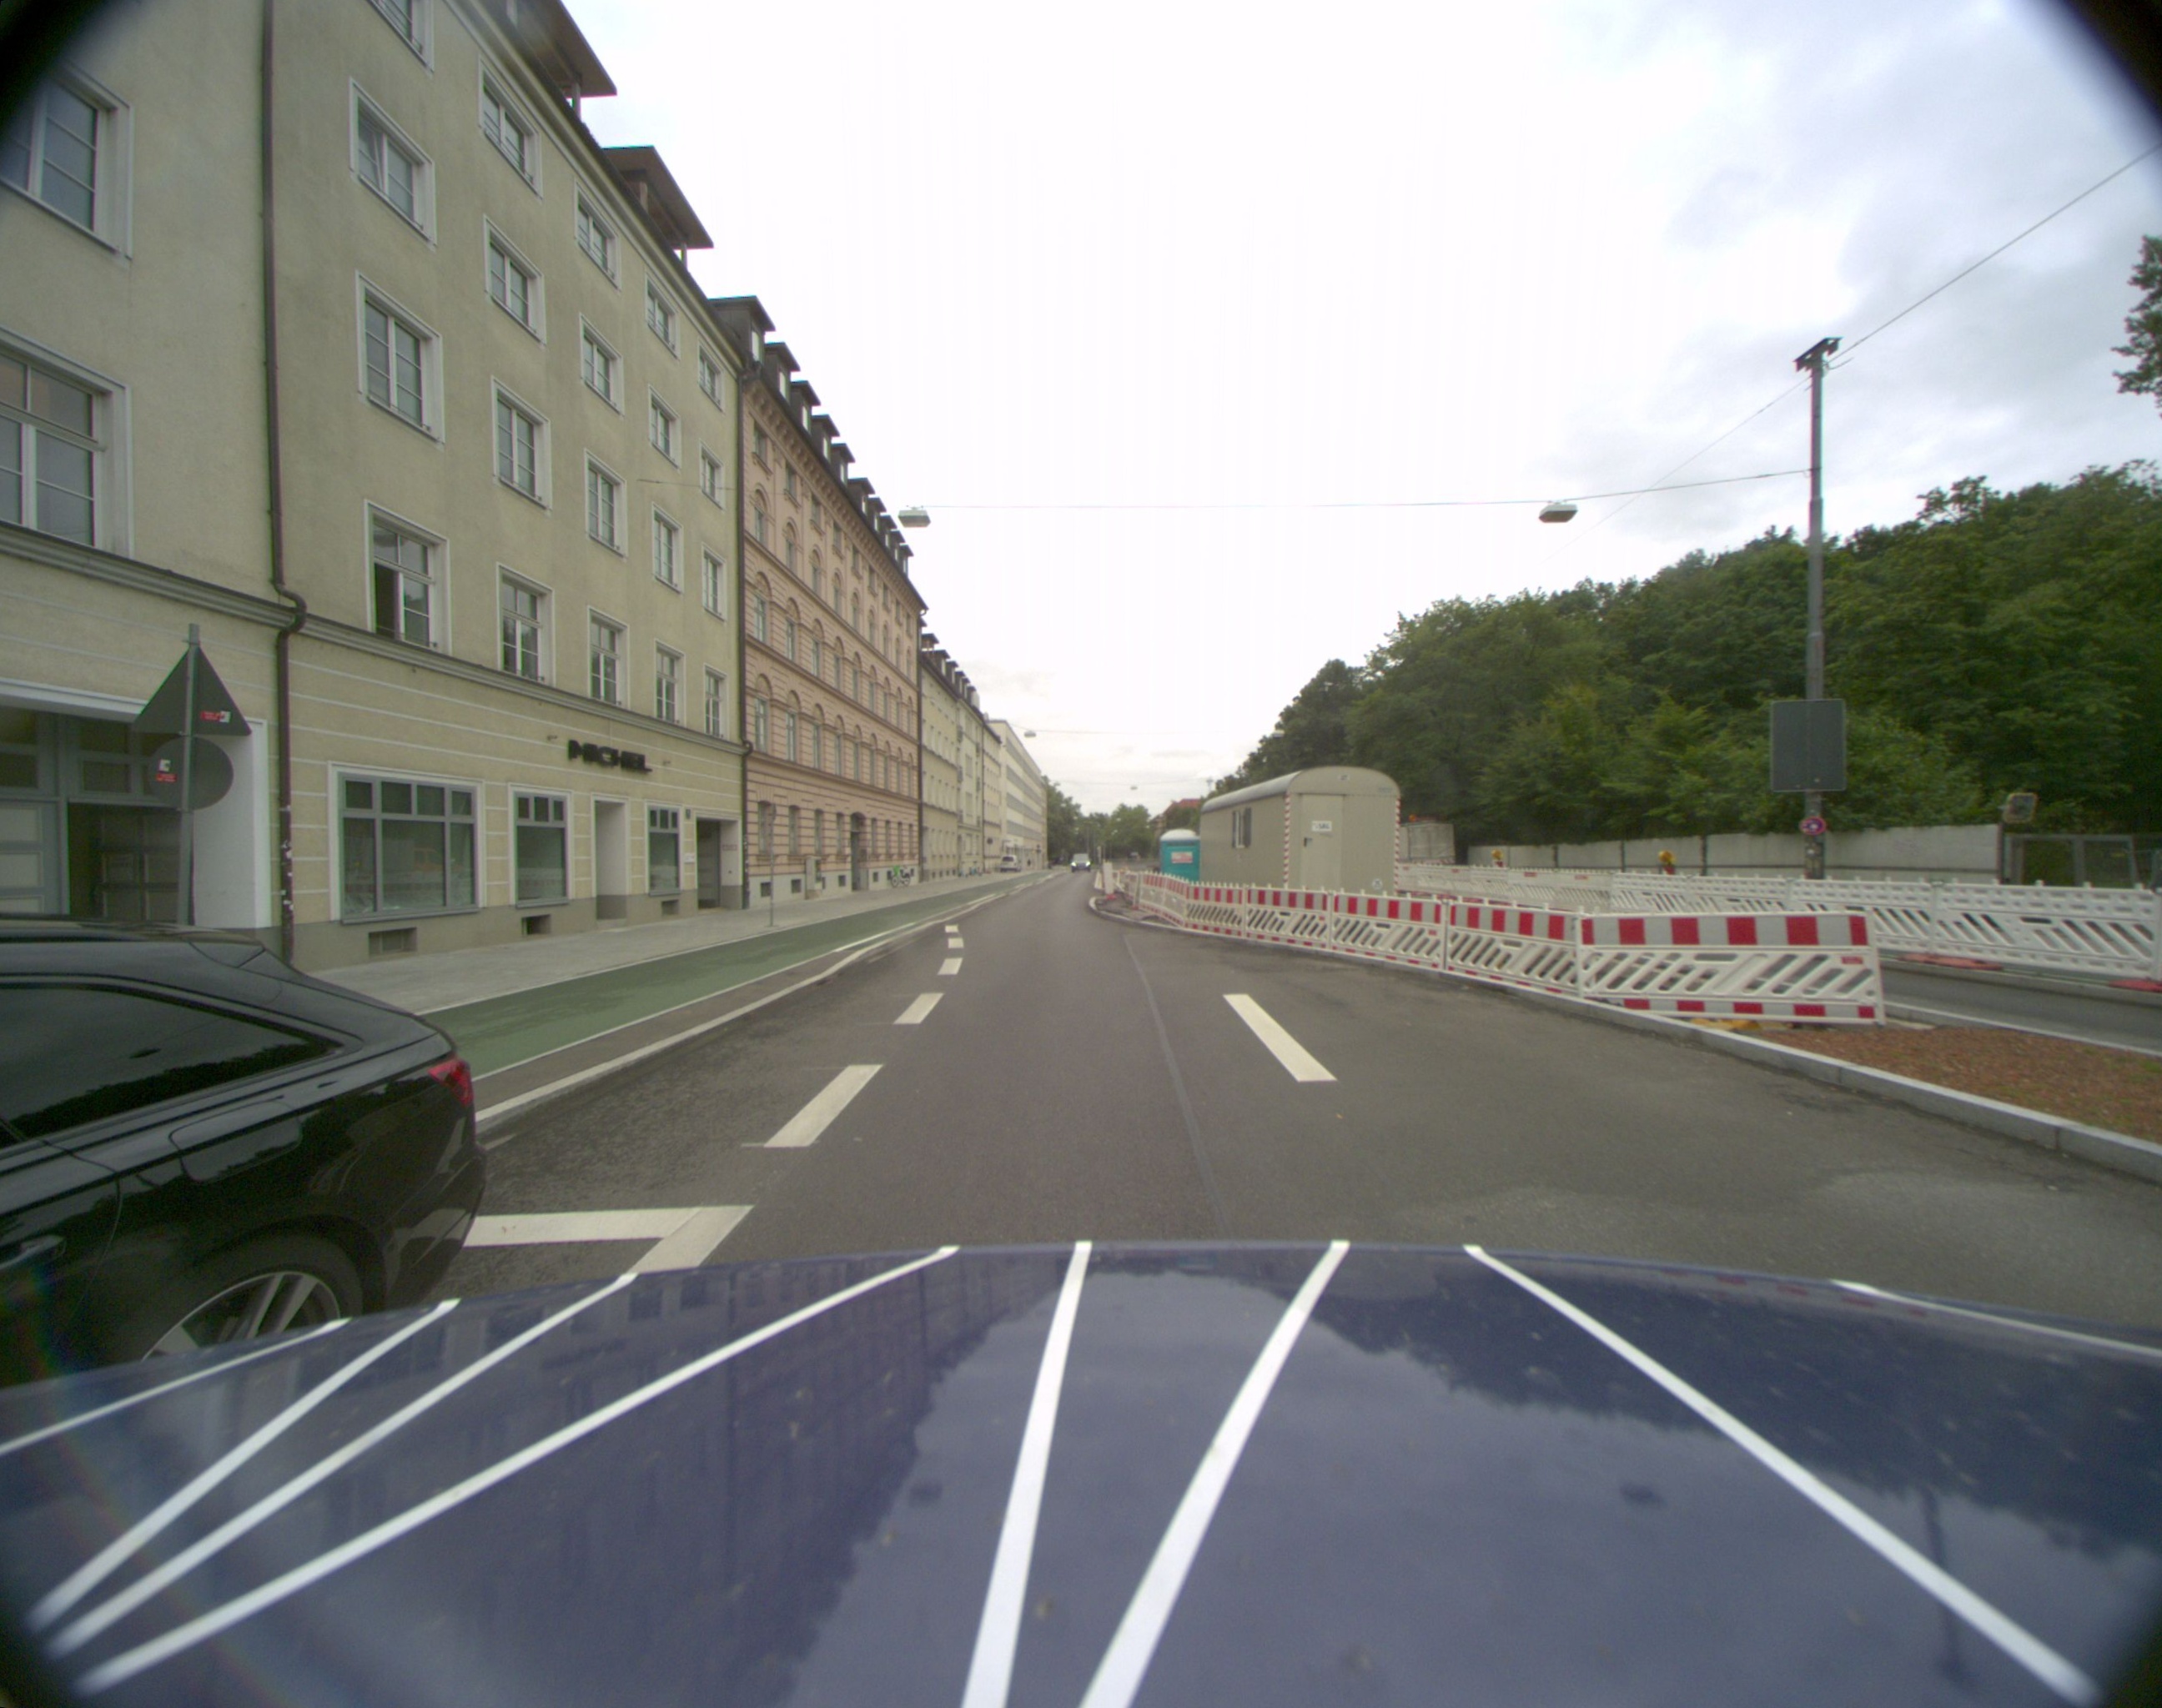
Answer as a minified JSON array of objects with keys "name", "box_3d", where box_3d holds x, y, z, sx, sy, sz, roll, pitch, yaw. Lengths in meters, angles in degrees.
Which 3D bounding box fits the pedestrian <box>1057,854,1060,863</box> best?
[{"name":"pedestrian","box_3d":[-4.524,0.925,150.386,0.514,1.825,0.602,-1,1,2]}]

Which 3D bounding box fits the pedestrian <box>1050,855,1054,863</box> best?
[{"name":"pedestrian","box_3d":[-5.837,1.028,153.526,0.754,1.610,0.704,-1,1,2]}]

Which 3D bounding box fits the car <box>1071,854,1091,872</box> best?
[{"name":"car","box_3d":[-0.002,0.895,77.999,1.998,1.738,4.000,-2,0,0]}]

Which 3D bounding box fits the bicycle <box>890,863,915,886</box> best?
[{"name":"bicycle","box_3d":[-9.347,1.061,39.936,0.426,1.167,1.734,0,0,19]}]

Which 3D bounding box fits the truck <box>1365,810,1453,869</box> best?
[{"name":"truck","box_3d":[16.222,-0.658,37.981,1.998,2.712,5.871,-1,0,2]}]

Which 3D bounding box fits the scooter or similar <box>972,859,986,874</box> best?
[{"name":"scooter or similar","box_3d":[-8.507,1.057,63.497,1.121,1.224,0.246,1,1,-32]}]

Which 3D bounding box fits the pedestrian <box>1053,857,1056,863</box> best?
[{"name":"pedestrian","box_3d":[-5.238,1.196,150.214,0.368,1.239,0.470,-1,1,2]}]

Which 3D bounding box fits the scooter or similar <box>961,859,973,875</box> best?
[{"name":"scooter or similar","box_3d":[-8.791,0.994,58.593,0.246,1.224,1.121,2,1,27]}]

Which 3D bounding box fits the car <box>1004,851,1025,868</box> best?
[{"name":"car","box_3d":[-7.121,0.620,81.232,1.737,1.739,4.436,0,0,2]}]

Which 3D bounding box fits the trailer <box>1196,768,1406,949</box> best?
[{"name":"trailer","box_3d":[4.529,0.078,17.397,2.233,3.224,7.516,-1,0,-3]}]

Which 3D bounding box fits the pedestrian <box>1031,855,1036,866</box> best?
[{"name":"pedestrian","box_3d":[-6.690,0.932,107.202,0.666,1.626,0.737,-1,1,1]}]
